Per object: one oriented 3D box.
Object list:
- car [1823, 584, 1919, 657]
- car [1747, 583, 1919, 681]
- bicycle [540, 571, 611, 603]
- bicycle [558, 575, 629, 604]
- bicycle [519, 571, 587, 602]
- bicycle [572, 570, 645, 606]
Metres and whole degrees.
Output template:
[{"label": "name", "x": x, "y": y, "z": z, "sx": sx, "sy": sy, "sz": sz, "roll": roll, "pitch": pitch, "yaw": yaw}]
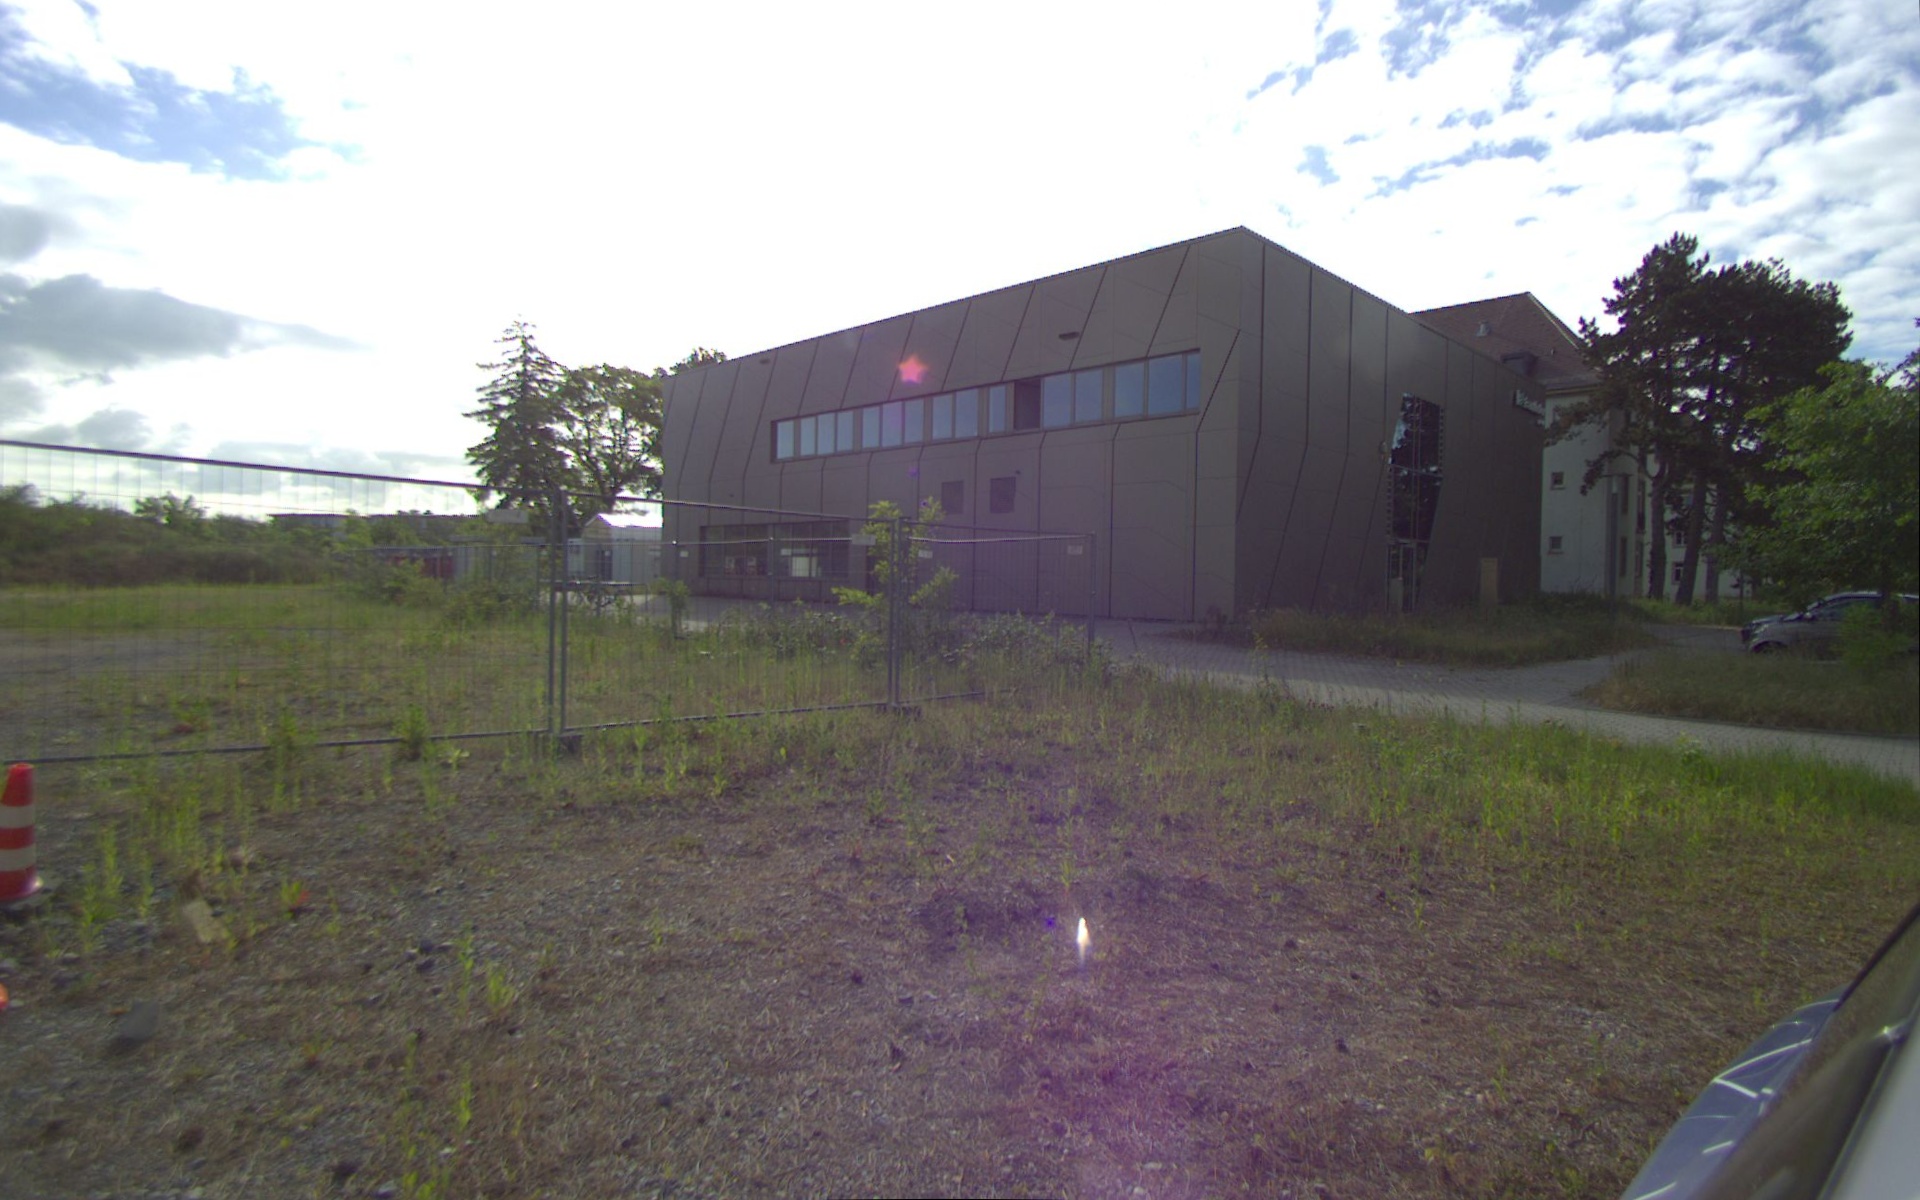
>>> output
[{"label": "car", "x": 21.109, "y": 0.485, "z": 22.309, "sx": 3.082, "sy": 1.475, "sz": 1.470, "roll": 5, "pitch": 4, "yaw": 41}, {"label": "car", "x": 15.609, "y": 0.509, "z": 17.631, "sx": 1.400, "sy": 1.568, "sz": 2.765, "roll": 0, "pitch": 2, "yaw": -41}, {"label": "bicycle", "x": -13.009, "y": -0.452, "z": 34.301, "sx": 0.943, "sy": 1.057, "sz": 2.037, "roll": 2, "pitch": 2, "yaw": 43}, {"label": "bicycle", "x": -12.194, "y": -0.354, "z": 33.701, "sx": 0.943, "sy": 0.933, "sz": 2.037, "roll": 2, "pitch": 2, "yaw": 43}, {"label": "bicycle", "x": -14.434, "y": -0.486, "z": 35.889, "sx": 0.943, "sy": 1.057, "sz": 2.037, "roll": 2, "pitch": 2, "yaw": 43}, {"label": "bicycle", "x": -11.353, "y": -0.393, "z": 32.772, "sx": 0.943, "sy": 1.100, "sz": 2.037, "roll": 2, "pitch": 2, "yaw": 43}]
